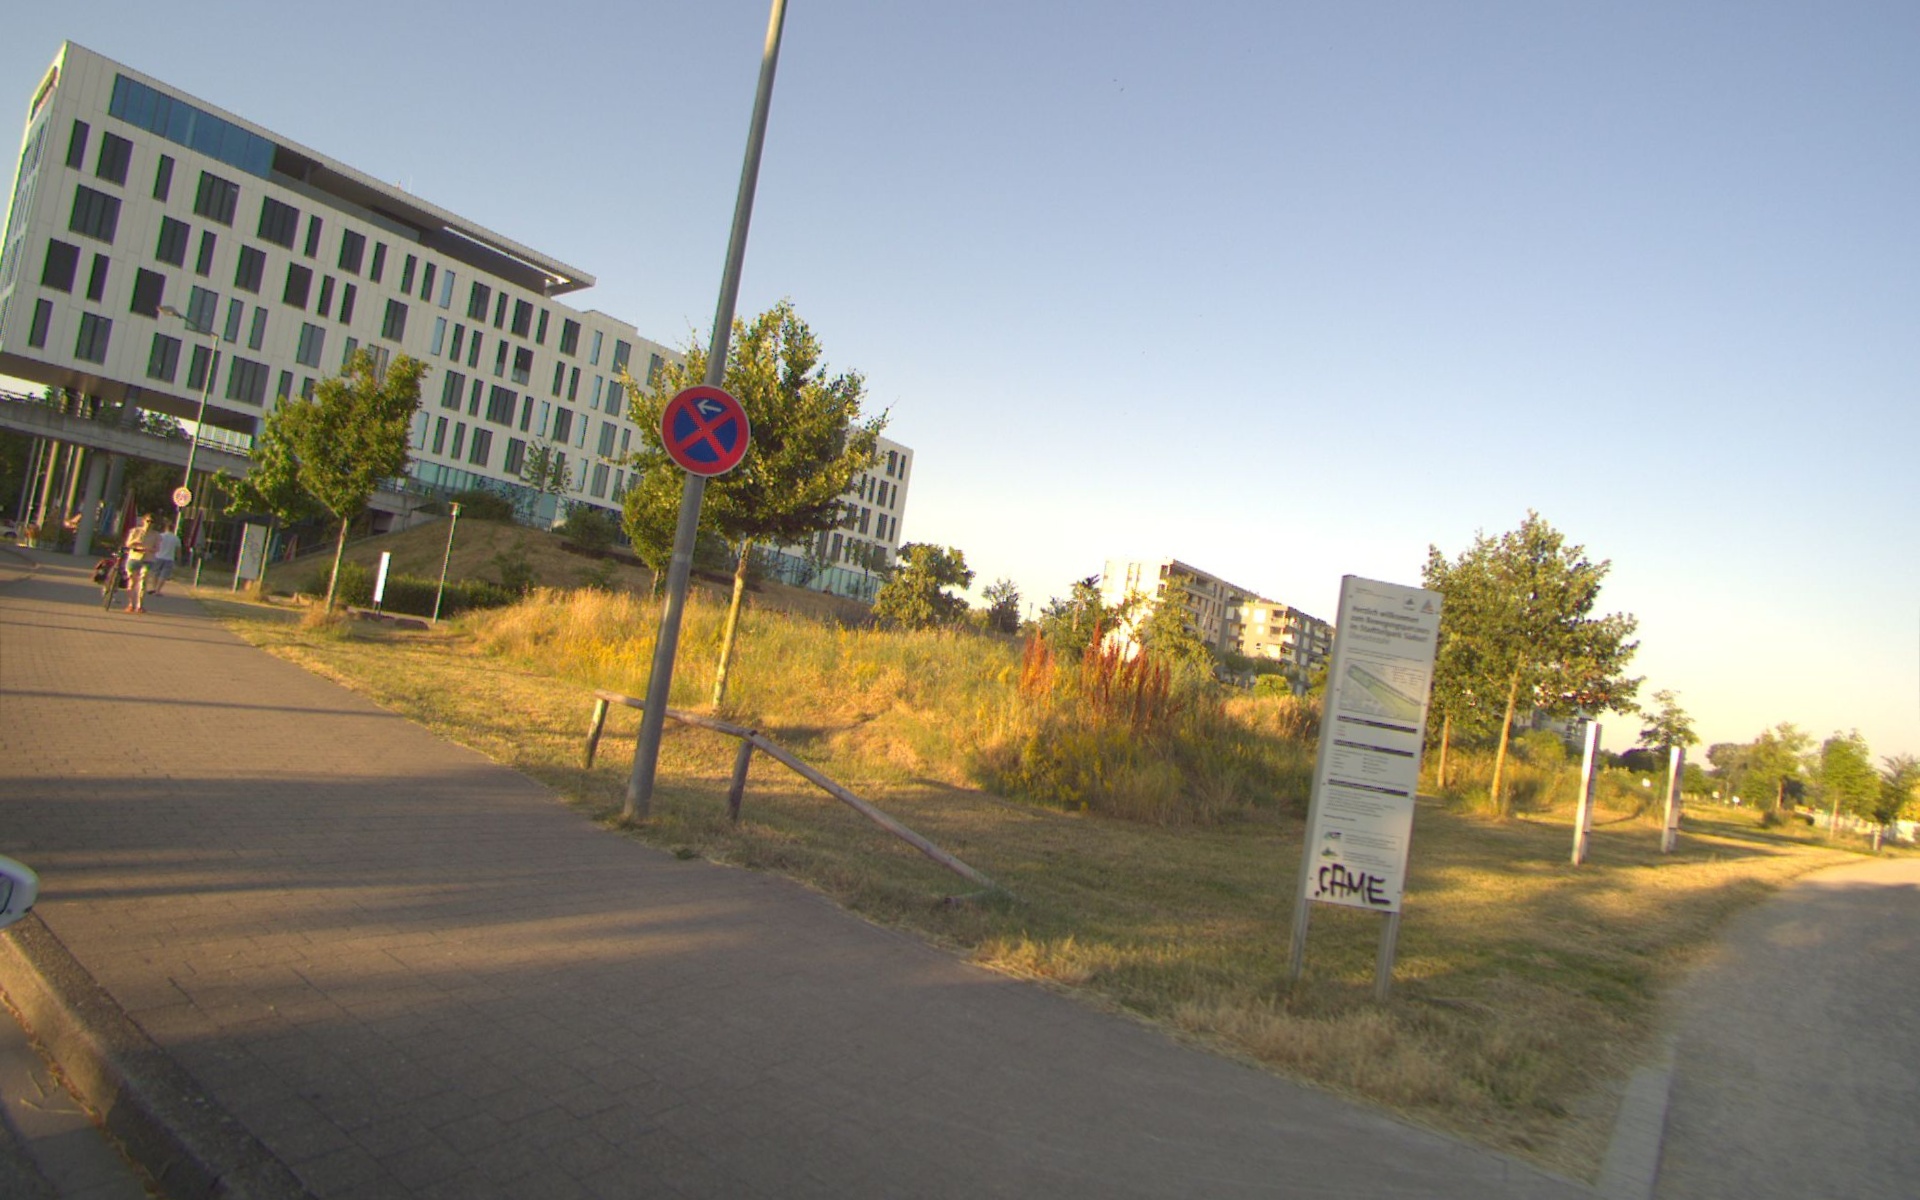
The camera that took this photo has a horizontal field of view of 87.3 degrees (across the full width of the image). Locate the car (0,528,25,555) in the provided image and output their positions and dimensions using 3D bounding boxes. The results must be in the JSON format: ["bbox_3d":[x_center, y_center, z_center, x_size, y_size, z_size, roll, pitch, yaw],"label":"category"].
[{"bbox_3d":[-74.581,-4.806,76.727,1.808,1.742,4.419,7,-5,39],"label":"car"}]

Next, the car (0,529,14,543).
[{"bbox_3d":[-123.334,-8.323,129.030,1.483,1.623,3.388,11,-4,-22],"label":"car"}]

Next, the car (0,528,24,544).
[{"bbox_3d":[-124.987,-8.389,132.318,1.483,1.623,3.388,11,-4,-22],"label":"car"}]

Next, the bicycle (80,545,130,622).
[{"bbox_3d":[-15.072,-0.313,17.711,0.449,1.181,1.918,12,-4,-42],"label":"bicycle"}]

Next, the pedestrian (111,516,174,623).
[{"bbox_3d":[-14.800,-0.566,18.214,0.593,1.821,0.808,11,-3,-41],"label":"pedestrian"}]

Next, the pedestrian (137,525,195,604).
[{"bbox_3d":[-19.499,-0.867,24.714,0.829,1.785,0.808,12,-3,-41],"label":"pedestrian"}]
